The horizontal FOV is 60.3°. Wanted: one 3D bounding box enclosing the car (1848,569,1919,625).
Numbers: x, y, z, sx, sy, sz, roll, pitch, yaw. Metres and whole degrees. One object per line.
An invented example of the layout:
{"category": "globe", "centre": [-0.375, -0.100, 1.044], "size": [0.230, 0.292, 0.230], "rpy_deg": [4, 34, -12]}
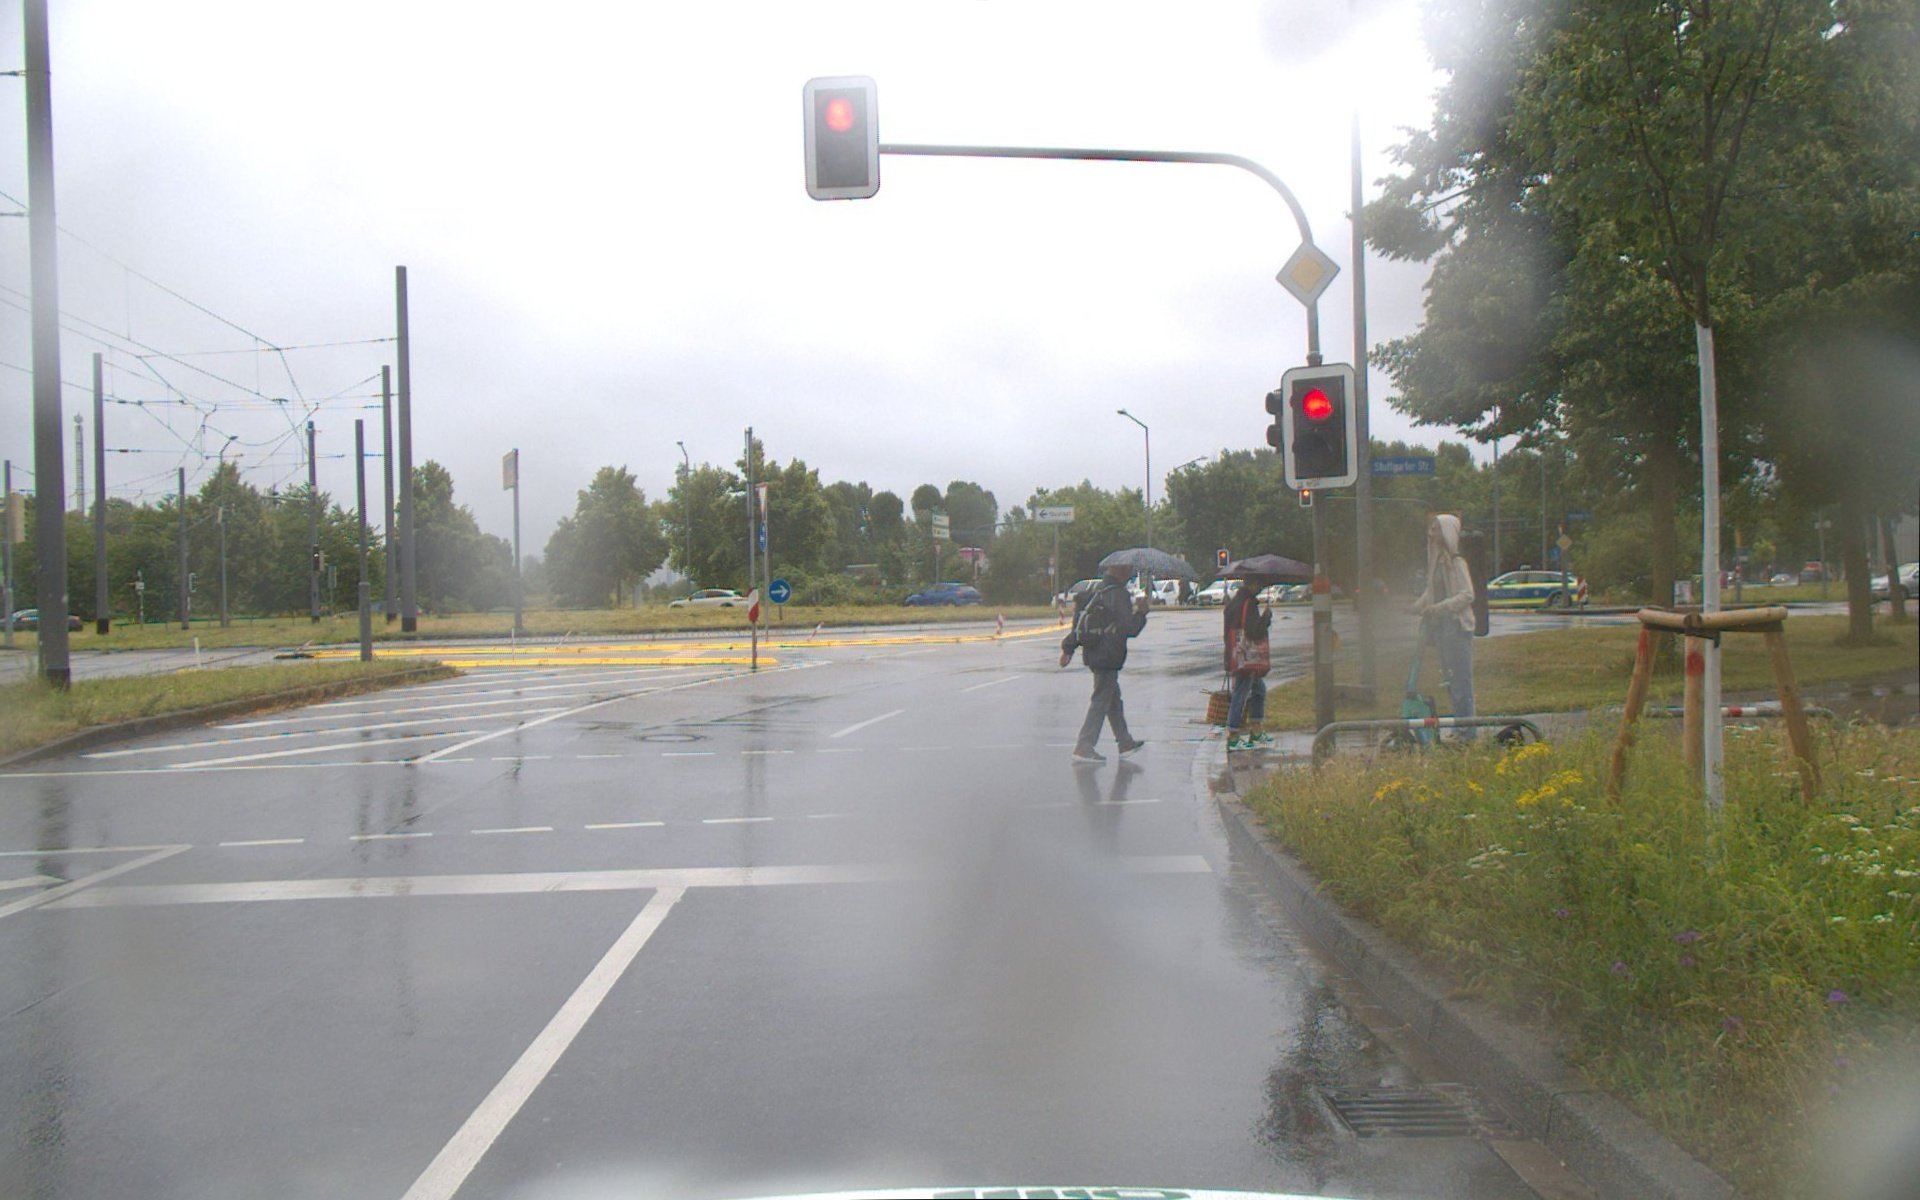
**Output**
{"category": "car", "centre": [33.883, -0.070, 57.794], "size": [4.664, 1.884, 1.999], "rpy_deg": [1, -1, -2]}

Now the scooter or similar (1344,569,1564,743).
{"category": "scooter or similar", "centre": [3.773, 0.424, 12.651], "size": [1.555, 1.281, 0.447], "rpy_deg": [1, -1, -7]}

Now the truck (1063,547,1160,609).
{"category": "truck", "centre": [7.395, -1.017, 79.644], "size": [2.411, 2.733, 8.057], "rpy_deg": [1, -1, 22]}

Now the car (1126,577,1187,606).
{"category": "car", "centre": [12.101, -0.522, 101.741], "size": [1.769, 1.691, 4.112], "rpy_deg": [1, -1, 40]}

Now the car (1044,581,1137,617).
{"category": "car", "centre": [5.551, -0.018, 70.670], "size": [1.611, 1.479, 3.922], "rpy_deg": [-1, 1, -44]}

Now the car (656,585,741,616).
{"category": "car", "centre": [-13.357, 0.014, 84.575], "size": [4.012, 1.479, 1.625], "rpy_deg": [-1, 0, 7]}

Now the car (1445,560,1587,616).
{"category": "car", "centre": [19.702, -0.435, 58.709], "size": [4.660, 1.883, 2.001], "rpy_deg": [-1, 0, 19]}

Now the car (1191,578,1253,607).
{"category": "car", "centre": [16.131, -0.441, 101.659], "size": [1.769, 1.691, 4.386], "rpy_deg": [1, -1, 40]}

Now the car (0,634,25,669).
{"category": "car", "centre": [-45.341, 2.384, 76.316], "size": [1.586, 1.570, 3.478], "rpy_deg": [1, -1, 28]}

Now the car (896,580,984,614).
{"category": "car", "centre": [-0.931, -0.139, 76.172], "size": [3.908, 1.479, 1.617], "rpy_deg": [-1, 0, 36]}

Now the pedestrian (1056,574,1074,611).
{"category": "pedestrian", "centre": [3.811, -0.280, 59.931], "size": [0.445, 1.327, 0.484], "rpy_deg": [-1, 0, 38]}

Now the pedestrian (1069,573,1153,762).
{"category": "pedestrian", "centre": [1.264, 0.552, 13.952], "size": [0.608, 1.549, 0.741], "rpy_deg": [1, 0, -2]}

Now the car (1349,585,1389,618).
{"category": "car", "centre": [18.930, 0.053, 76.669], "size": [1.583, 1.479, 3.991], "rpy_deg": [-1, 1, 12]}

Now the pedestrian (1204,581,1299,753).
{"category": "pedestrian", "centre": [2.598, 0.589, 14.788], "size": [0.667, 1.486, 0.573], "rpy_deg": [-2, -1, -5]}

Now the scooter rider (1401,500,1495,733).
{"category": "scooter rider", "centre": [3.728, 0.121, 12.650], "size": [0.521, 1.739, 0.433], "rpy_deg": [-2, 0, -7]}
